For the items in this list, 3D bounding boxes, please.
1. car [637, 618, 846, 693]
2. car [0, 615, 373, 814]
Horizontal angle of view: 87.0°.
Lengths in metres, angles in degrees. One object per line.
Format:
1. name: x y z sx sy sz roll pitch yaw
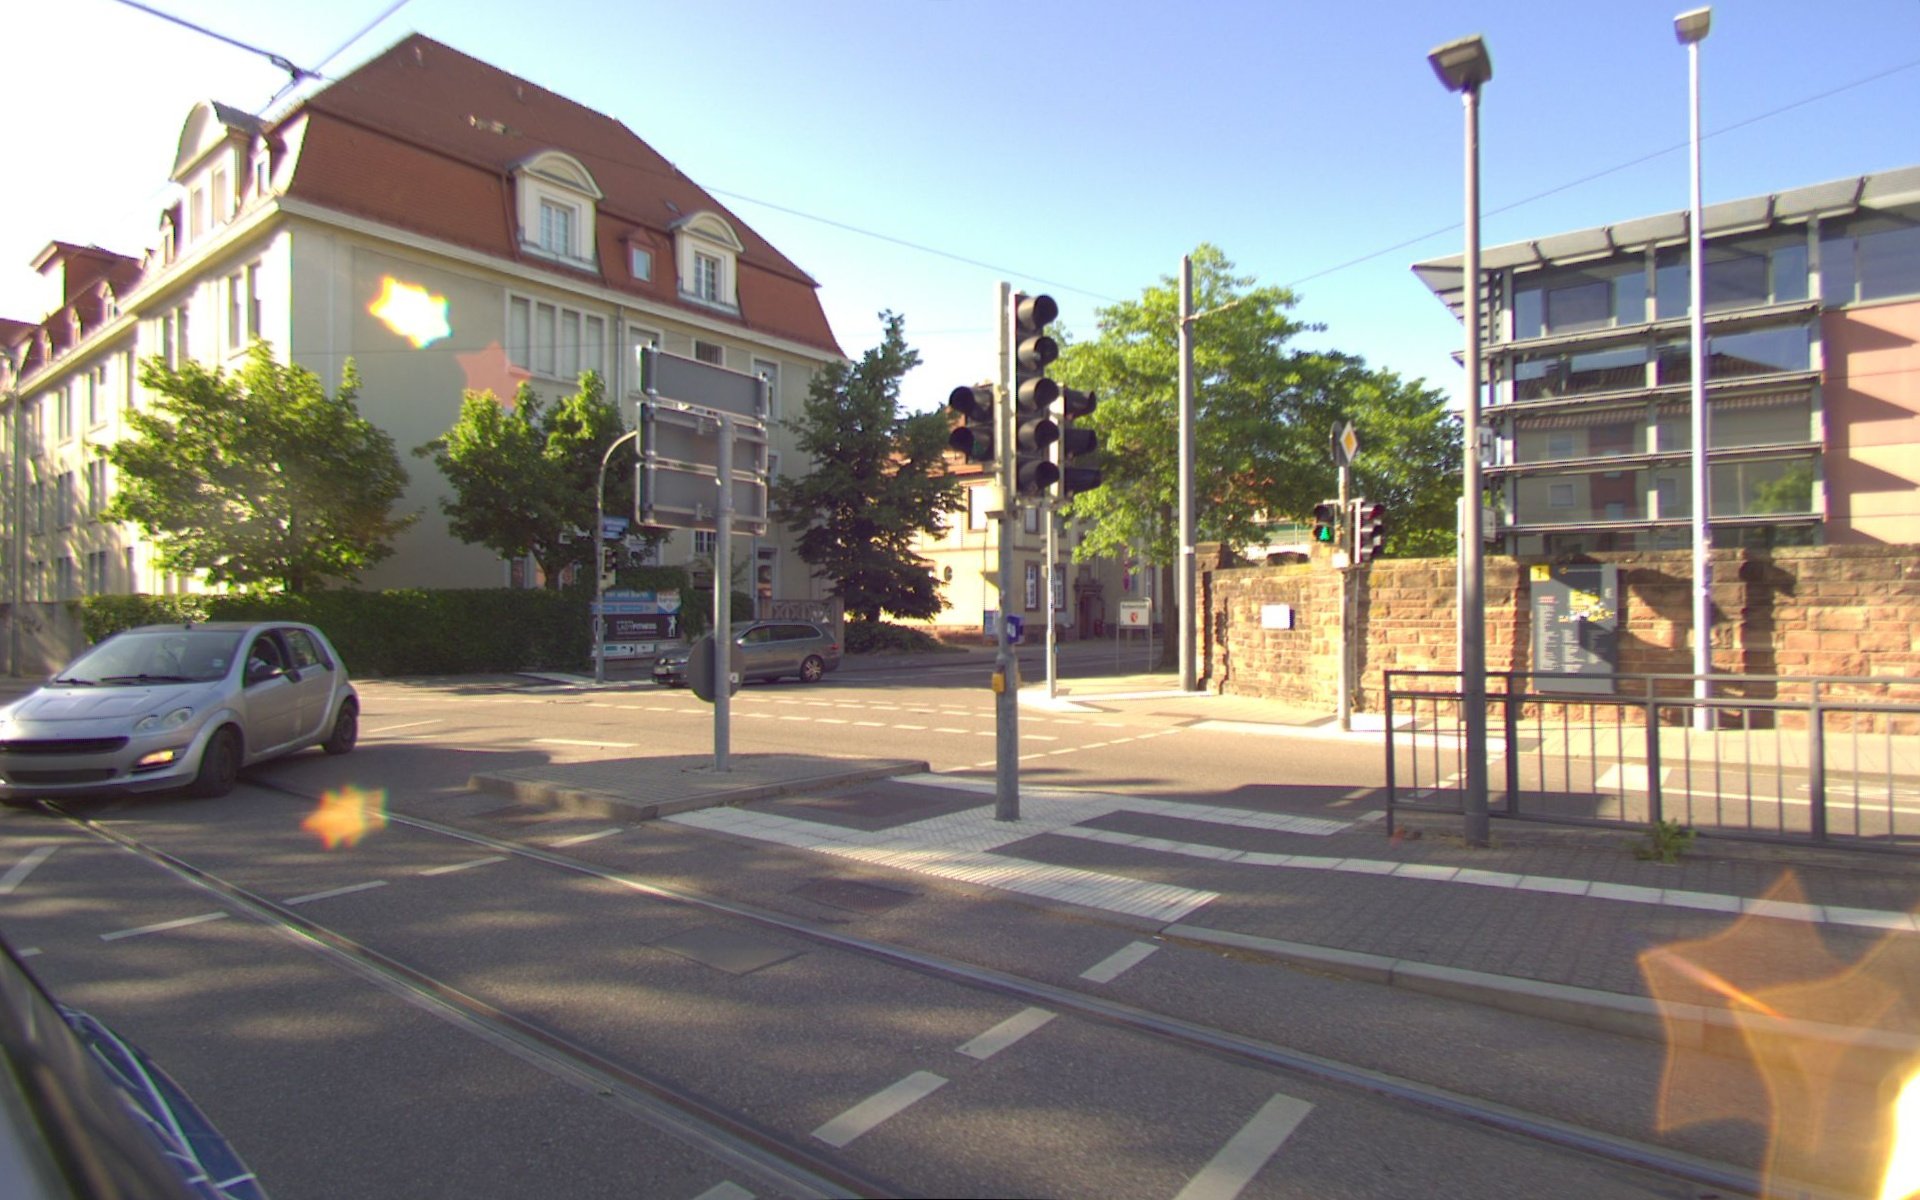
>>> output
1. car: -4.750 1.152 22.455 1.743 1.470 4.343 -2 -2 42
2. car: -7.169 0.889 9.393 1.715 1.470 3.700 0 -1 -8
